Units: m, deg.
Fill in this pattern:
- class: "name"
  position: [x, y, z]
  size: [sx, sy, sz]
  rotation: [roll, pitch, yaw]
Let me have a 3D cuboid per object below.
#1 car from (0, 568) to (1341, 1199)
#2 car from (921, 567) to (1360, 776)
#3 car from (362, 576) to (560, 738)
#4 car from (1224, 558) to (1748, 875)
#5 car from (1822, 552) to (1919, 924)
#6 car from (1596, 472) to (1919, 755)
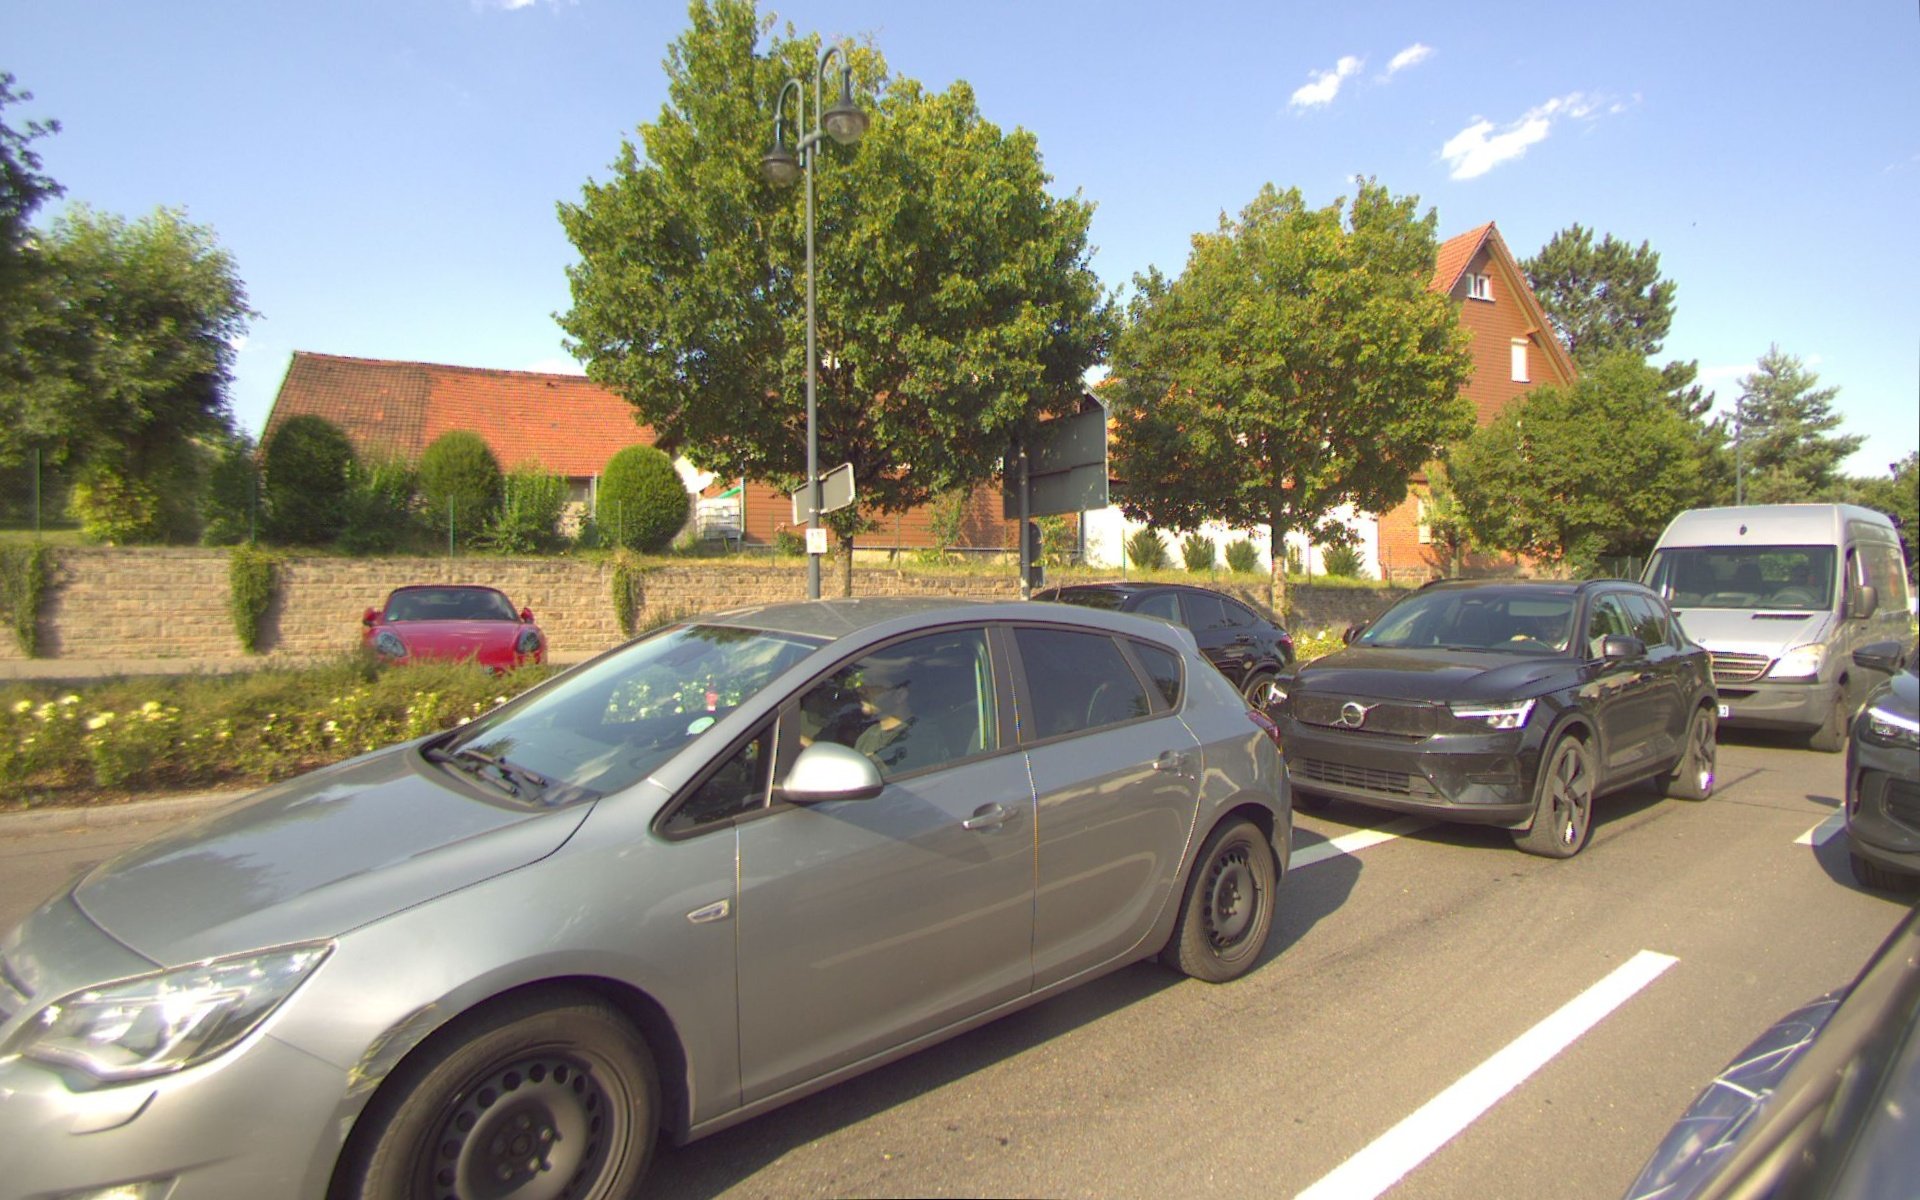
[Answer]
- class: "car"
  position: [-0.562, 0.665, 3.518]
  size: [4.244, 1.471, 1.765]
  rotation: [0, 2, -42]
- class: "car"
  position: [1.944, 0.529, 10.021]
  size: [4.483, 1.628, 1.766]
  rotation: [0, 2, -39]
- class: "car"
  position: [-5.900, 0.524, 11.709]
  size: [1.743, 1.510, 4.156]
  rotation: [0, 0, -31]
- class: "car"
  position: [3.948, 0.566, 7.271]
  size: [4.242, 1.629, 1.844]
  rotation: [0, 2, -40]
- class: "car"
  position: [6.211, 0.617, 5.333]
  size: [4.242, 1.629, 1.844]
  rotation: [0, 2, -40]
- class: "car"
  position: [9.741, 0.085, 11.981]
  size: [5.938, 2.601, 1.992]
  rotation: [0, 1, -40]
